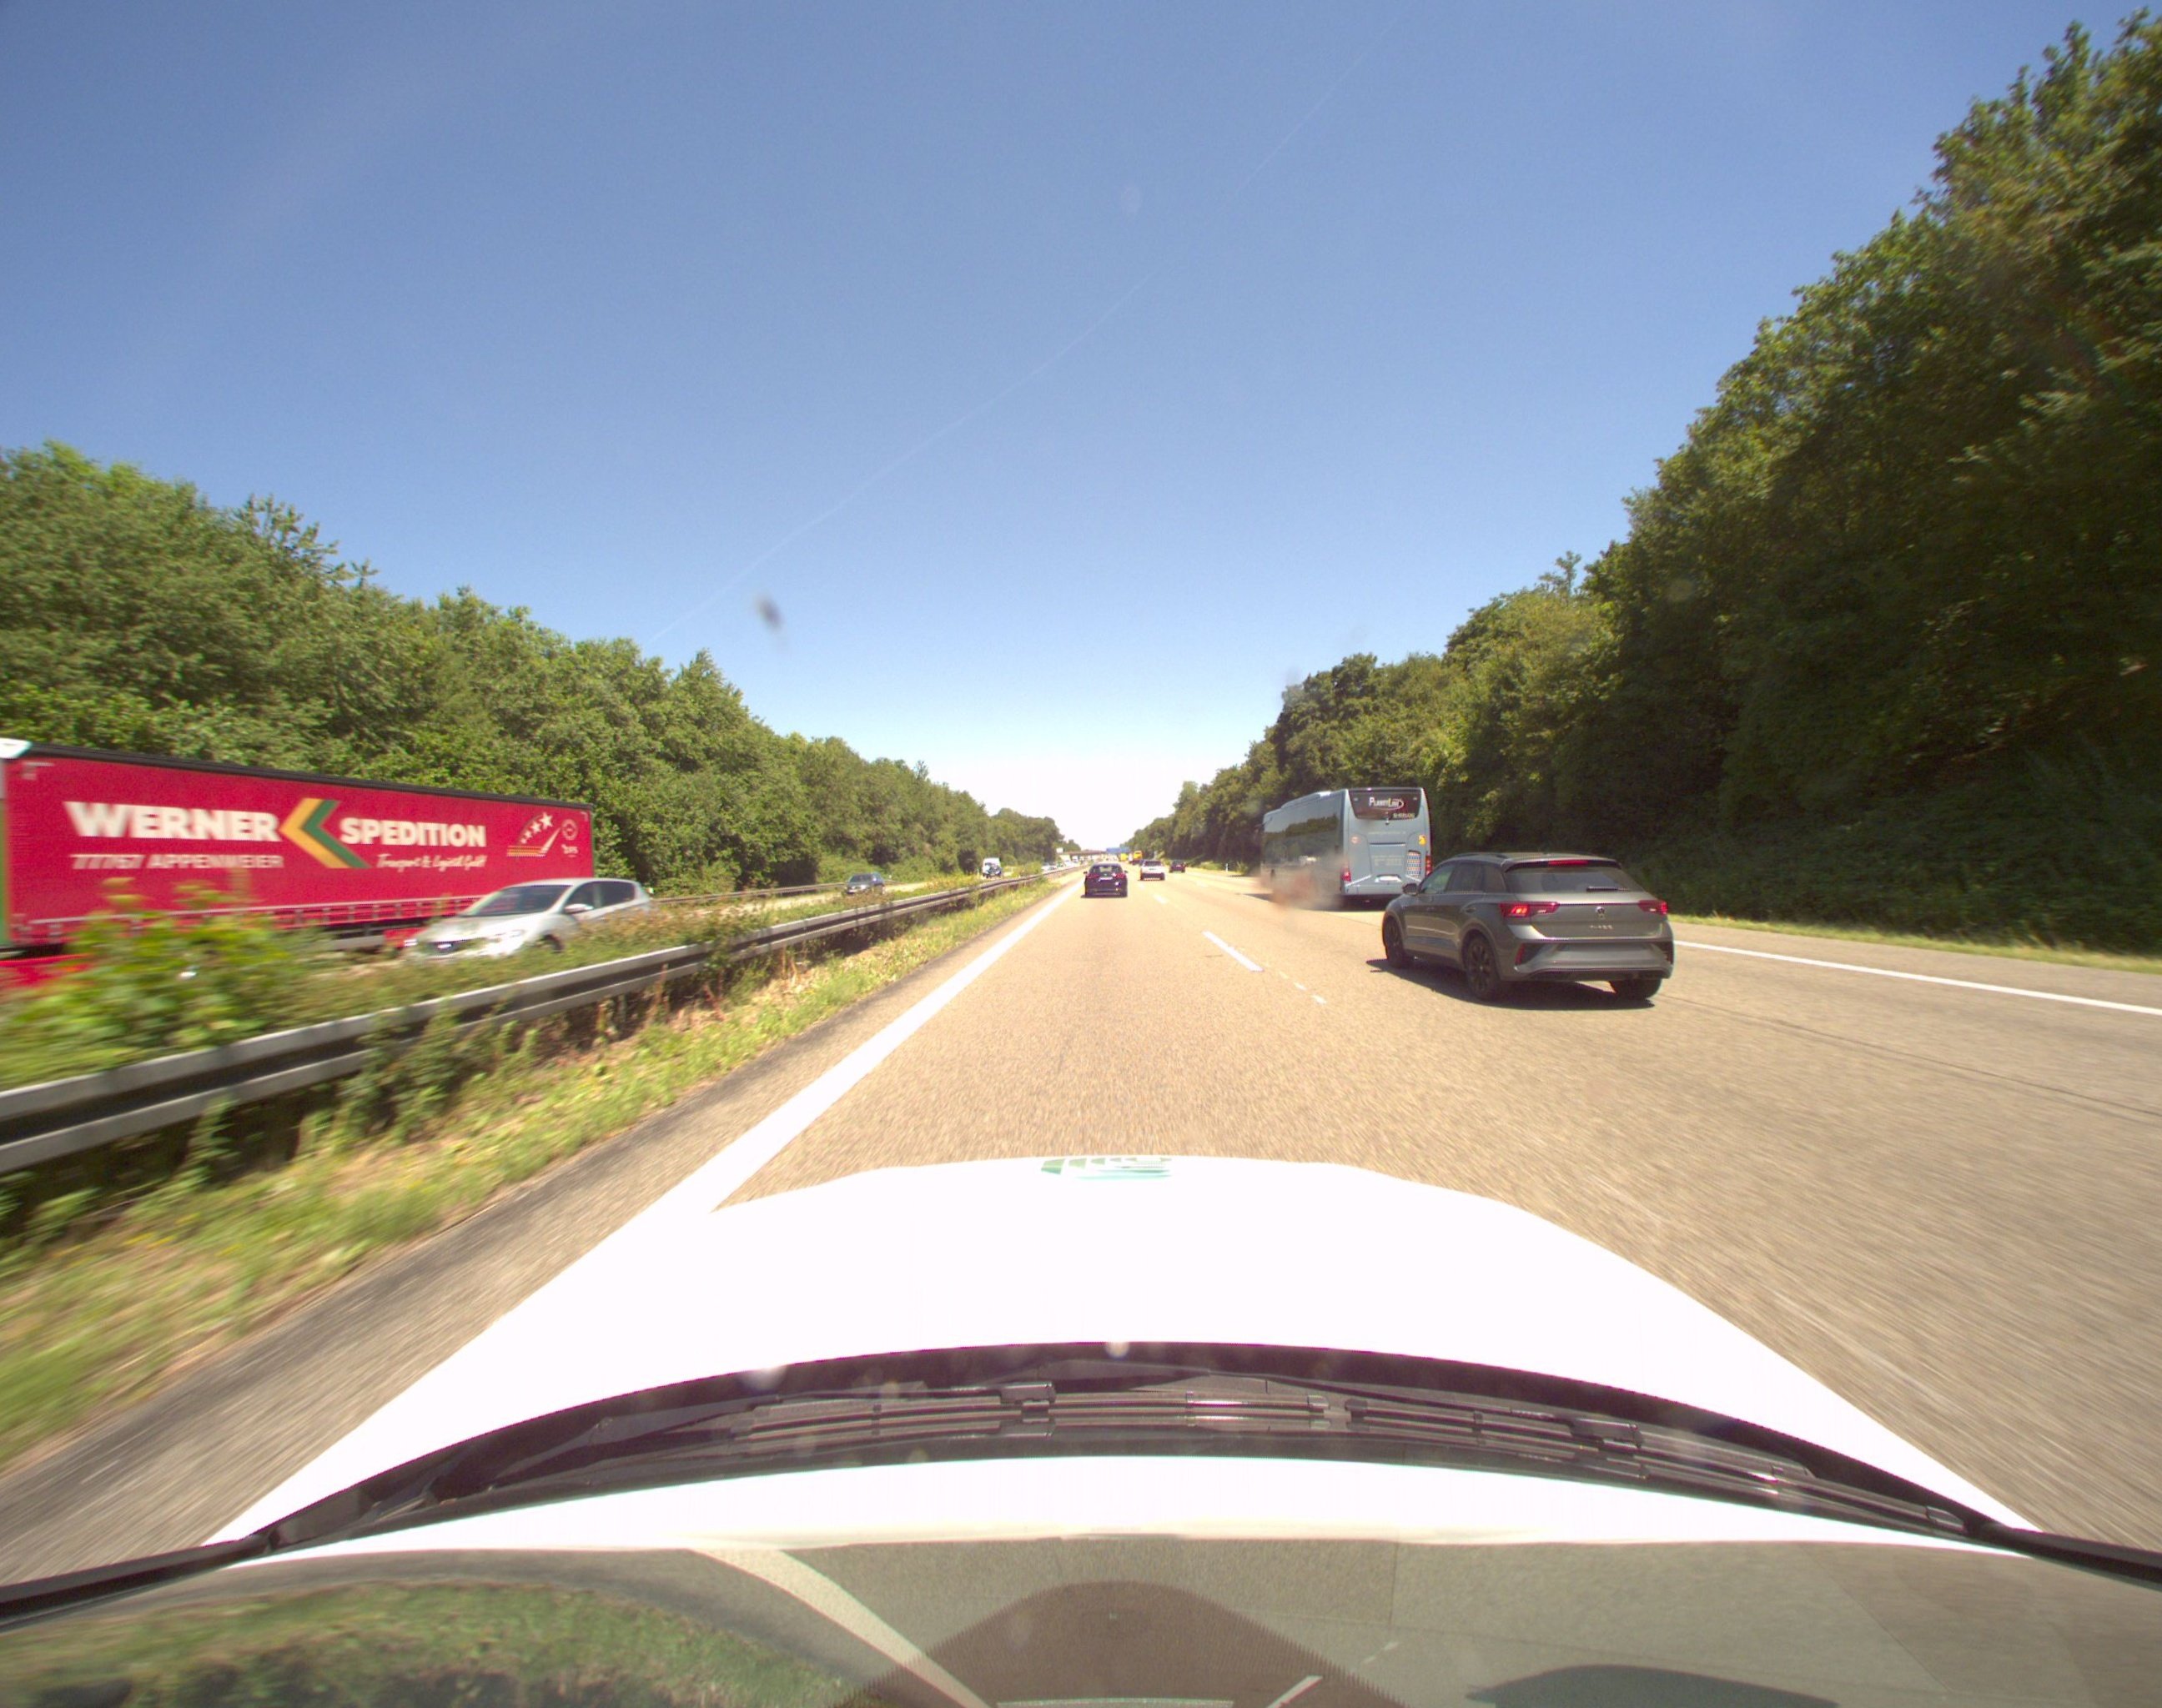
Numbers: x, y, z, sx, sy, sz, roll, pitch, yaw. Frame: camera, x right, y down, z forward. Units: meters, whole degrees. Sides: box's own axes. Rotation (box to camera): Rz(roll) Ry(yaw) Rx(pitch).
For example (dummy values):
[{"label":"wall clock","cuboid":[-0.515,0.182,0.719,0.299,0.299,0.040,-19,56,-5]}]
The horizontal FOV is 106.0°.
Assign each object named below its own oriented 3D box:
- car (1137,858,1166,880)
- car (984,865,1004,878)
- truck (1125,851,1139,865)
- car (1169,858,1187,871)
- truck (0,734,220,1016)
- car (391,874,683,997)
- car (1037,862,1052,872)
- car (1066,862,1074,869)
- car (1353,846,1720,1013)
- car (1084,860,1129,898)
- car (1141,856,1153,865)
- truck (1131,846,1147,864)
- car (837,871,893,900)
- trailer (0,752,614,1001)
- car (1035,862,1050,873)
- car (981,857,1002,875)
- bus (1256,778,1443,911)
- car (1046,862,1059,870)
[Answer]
[{"label":"car","cuboid":[5.278,1.113,61.387,1.892,1.532,4.242,-1,0,1]},{"label":"car","cuboid":[-10.391,2.096,97.397,1.662,1.402,4.707,-2,0,1]},{"label":"truck","cuboid":[16.654,1.339,266.383,3.634,4.590,17.248,0,-1,1]},{"label":"car","cuboid":[11.198,1.177,94.553,1.782,1.461,3.952,-1,0,3]},{"label":"truck","cuboid":[-17.134,0.356,11.773,3.205,4.059,5.619,-2,-1,1]},{"label":"car","cuboid":[-8.462,1.162,13.273,1.663,1.512,4.518,-2,0,0]},{"label":"car","cuboid":[-5.326,1.871,118.538,1.831,1.383,4.429,-3,0,2]},{"label":"car","cuboid":[-2.593,2.657,191.960,1.814,1.523,4.824,-2,0,1]},{"label":"car","cuboid":[5.057,0.717,10.003,1.892,1.532,4.760,-1,0,1]},{"label":"car","cuboid":[1.046,1.024,34.836,1.793,1.502,4.242,-1,0,1]},{"label":"car","cuboid":[13.861,1.371,171.360,2.069,1.751,4.242,-2,0,1]},{"label":"truck","cuboid":[15.548,0.375,219.851,3.634,4.590,15.768,0,-1,1]},{"label":"car","cuboid":[-12.711,1.817,48.276,1.842,1.450,4.872,-3,0,1]},{"label":"trailer","cuboid":[-16.909,0.436,19.958,3.205,4.059,12.745,-2,-1,1]},{"label":"car","cuboid":[-5.473,1.886,116.583,1.842,1.450,4.208,-3,0,1]},{"label":"car","cuboid":[-13.017,1.747,119.060,2.079,2.552,6.230,-3,0,2]},{"label":"bus","cuboid":[8.671,-0.210,28.476,2.791,3.596,12.479,-1,0,2]},{"label":"car","cuboid":[-4.918,2.062,140.906,1.831,1.383,4.429,-3,0,2]}]
